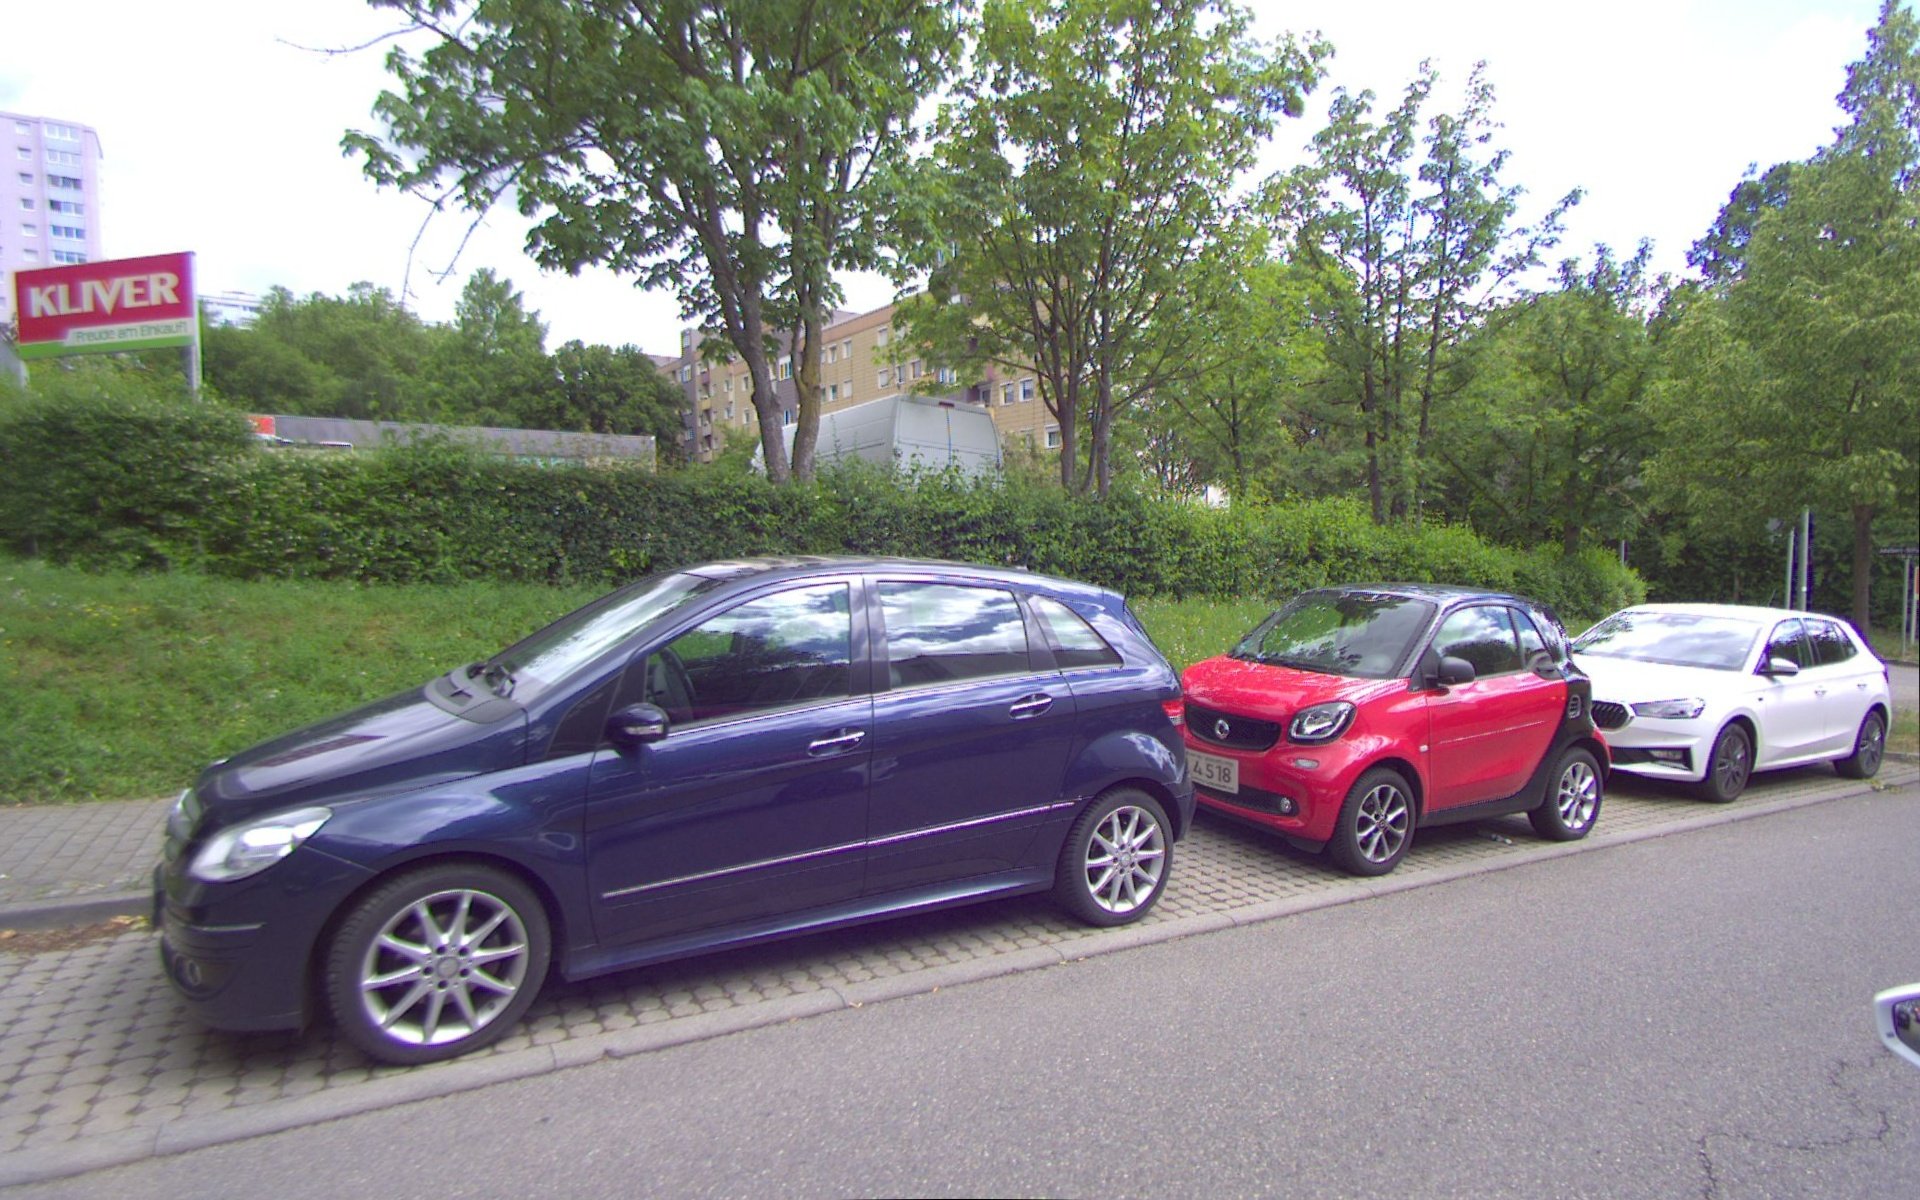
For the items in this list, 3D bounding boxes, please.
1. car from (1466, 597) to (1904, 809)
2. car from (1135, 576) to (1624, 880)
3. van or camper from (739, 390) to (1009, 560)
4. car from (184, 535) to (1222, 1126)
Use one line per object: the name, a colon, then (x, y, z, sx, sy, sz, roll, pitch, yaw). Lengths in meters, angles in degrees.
car: (6.460, 0.757, 8.874, 3.923, 1.456, 1.666, 1, 2, -30)
car: (2.677, 0.658, 6.430, 2.680, 1.526, 1.522, 1, 2, -29)
van or camper: (-1.499, -1.683, 15.249, 1.979, 2.114, 4.822, -1, 3, -34)
car: (-0.919, 0.597, 4.474, 3.794, 1.580, 1.874, 1, 3, -31)
